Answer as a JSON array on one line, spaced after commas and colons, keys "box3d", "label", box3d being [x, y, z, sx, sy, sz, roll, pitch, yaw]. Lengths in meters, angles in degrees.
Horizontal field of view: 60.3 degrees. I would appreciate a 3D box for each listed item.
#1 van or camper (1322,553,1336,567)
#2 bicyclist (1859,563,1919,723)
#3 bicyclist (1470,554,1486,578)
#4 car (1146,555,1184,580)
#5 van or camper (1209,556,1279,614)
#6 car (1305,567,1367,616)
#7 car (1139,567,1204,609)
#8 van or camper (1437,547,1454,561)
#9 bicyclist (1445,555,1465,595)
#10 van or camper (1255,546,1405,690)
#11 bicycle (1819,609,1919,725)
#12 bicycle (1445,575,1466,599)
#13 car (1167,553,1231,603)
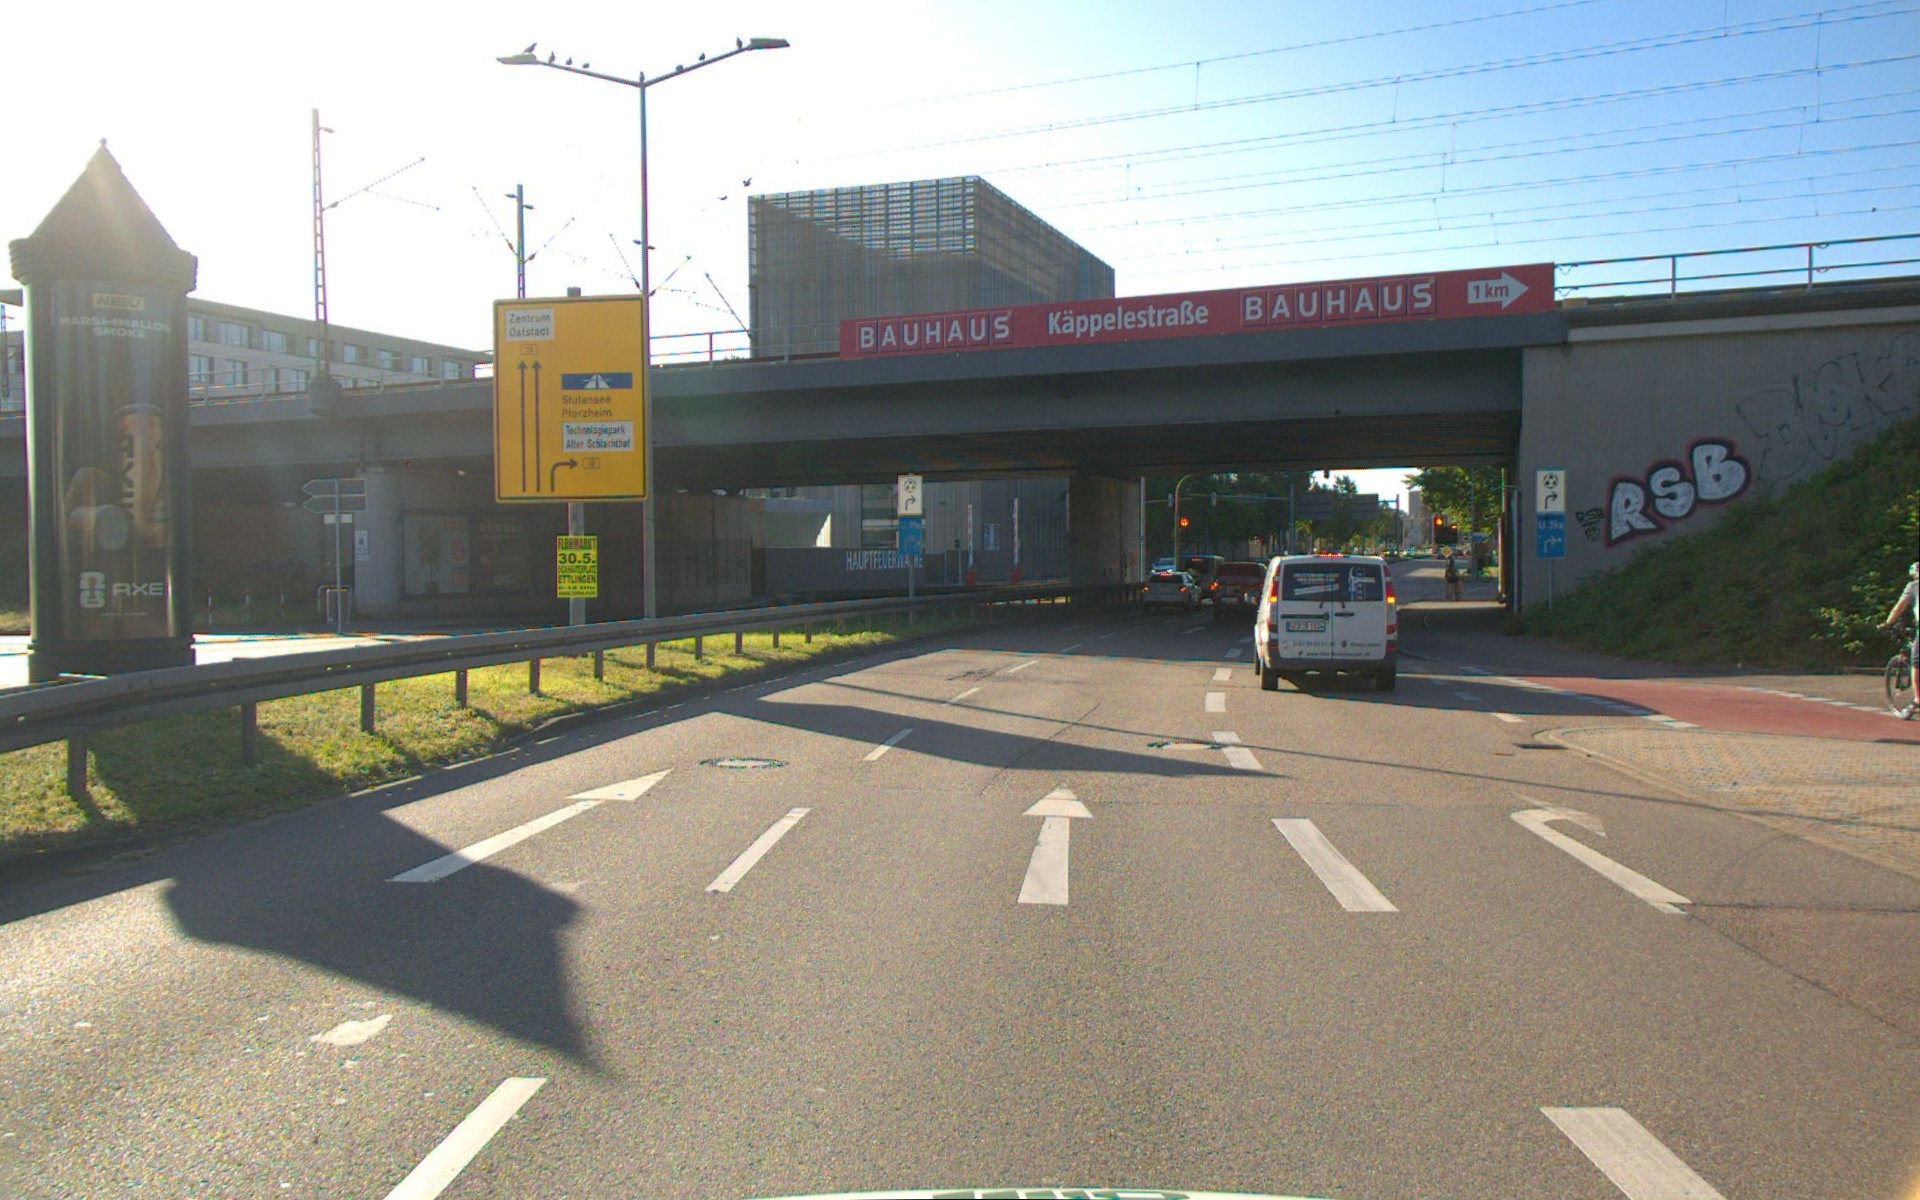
[{"box3d": [53.106, -5.722, 238.144, 1.747, 1.896, 3.911, -2, 0, 16], "label": "van or camper"}, {"box3d": [10.217, 0.434, 17.637, 0.730, 1.647, 0.913, -2, 0, 2], "label": "bicyclist"}, {"box3d": [35.311, -2.337, 112.765, 0.903, 1.611, 0.770, -2, 0, 22], "label": "bicyclist"}, {"box3d": [14.167, -2.205, 113.995, 1.746, 1.674, 4.203, 1, 1, 19], "label": "car"}, {"box3d": [9.439, -0.506, 54.755, 1.717, 1.845, 3.961, 0, 1, 18], "label": "van or camper"}, {"box3d": [12.446, -0.308, 54.622, 1.672, 1.549, 3.745, 0, 1, 18], "label": "car"}, {"box3d": [7.719, -0.450, 60.133, 1.672, 1.478, 3.745, 0, 1, 18], "label": "car"}, {"box3d": [66.755, -6.321, 227.309, 1.749, 1.896, 3.907, -2, 0, 24], "label": "van or camper"}, {"box3d": [19.968, -1.008, 66.711, 0.735, 1.611, 0.926, -2, 0, 17], "label": "bicyclist"}, {"box3d": [5.435, 0.206, 24.801, 1.916, 1.916, 4.884, -1, 1, 10], "label": "van or camper"}, {"box3d": [10.207, 0.697, 17.729, 0.728, 1.131, 2.452, -2, 0, 1], "label": "bicycle"}, {"box3d": [20.000, -0.544, 66.752, 0.756, 0.909, 1.998, -2, 0, 16], "label": "bicycle"}, {"box3d": [9.753, -0.906, 67.263, 1.827, 1.981, 4.598, 0, 1, 18], "label": "car"}]
